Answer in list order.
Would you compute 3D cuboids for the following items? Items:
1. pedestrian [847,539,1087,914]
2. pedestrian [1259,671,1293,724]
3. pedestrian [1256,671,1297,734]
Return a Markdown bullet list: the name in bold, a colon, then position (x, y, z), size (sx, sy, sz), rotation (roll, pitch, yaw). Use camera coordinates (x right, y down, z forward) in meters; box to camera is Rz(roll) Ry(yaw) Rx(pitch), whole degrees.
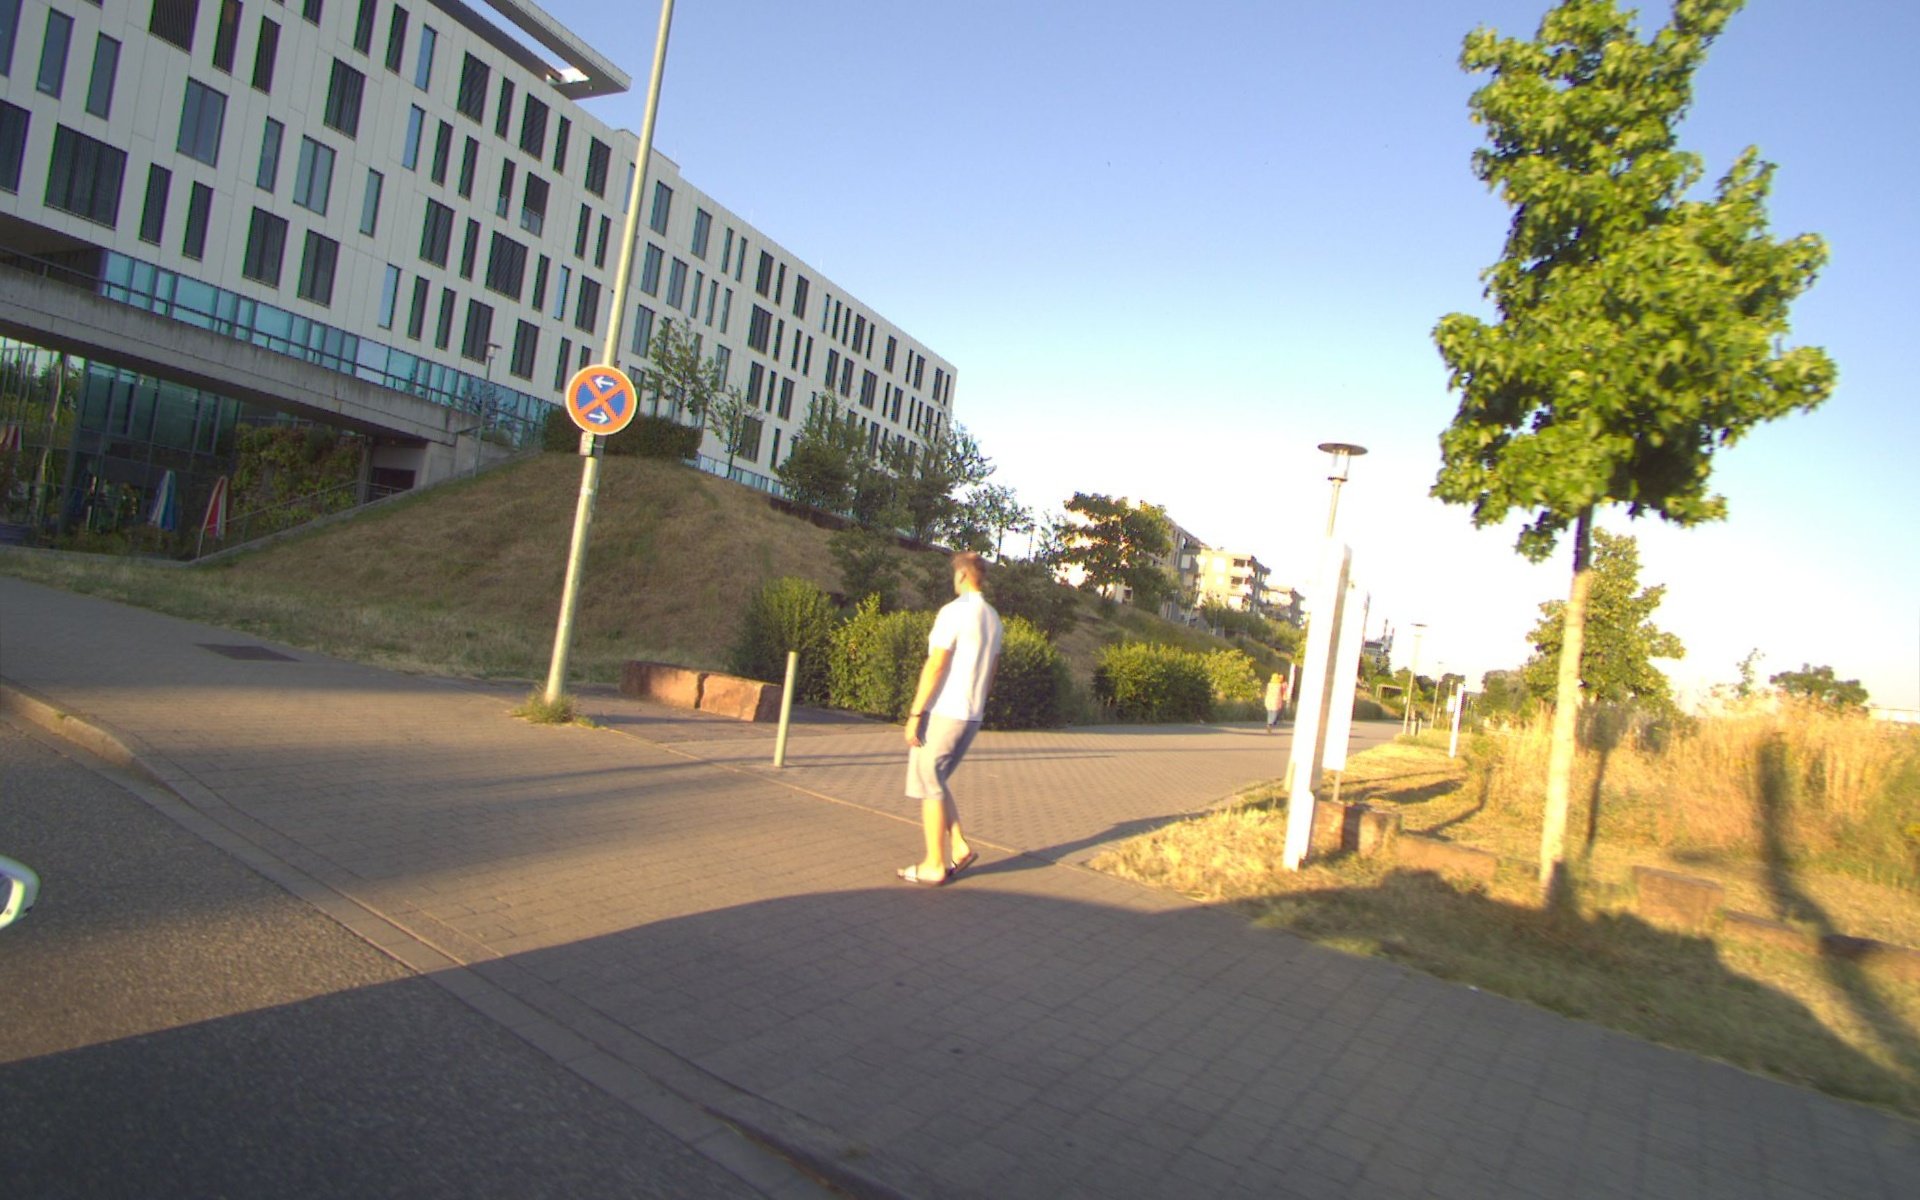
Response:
- **pedestrian**: position (0.049, 0.629, 5.444), size (0.805, 1.788, 0.831), rotation (6, 1, 35)
- **pedestrian**: position (10.182, 3.153, 32.396), size (0.753, 1.577, 0.709), rotation (9, -1, 25)
- **pedestrian**: position (8.184, 2.651, 25.999), size (0.753, 1.476, 0.709), rotation (9, -1, 25)
